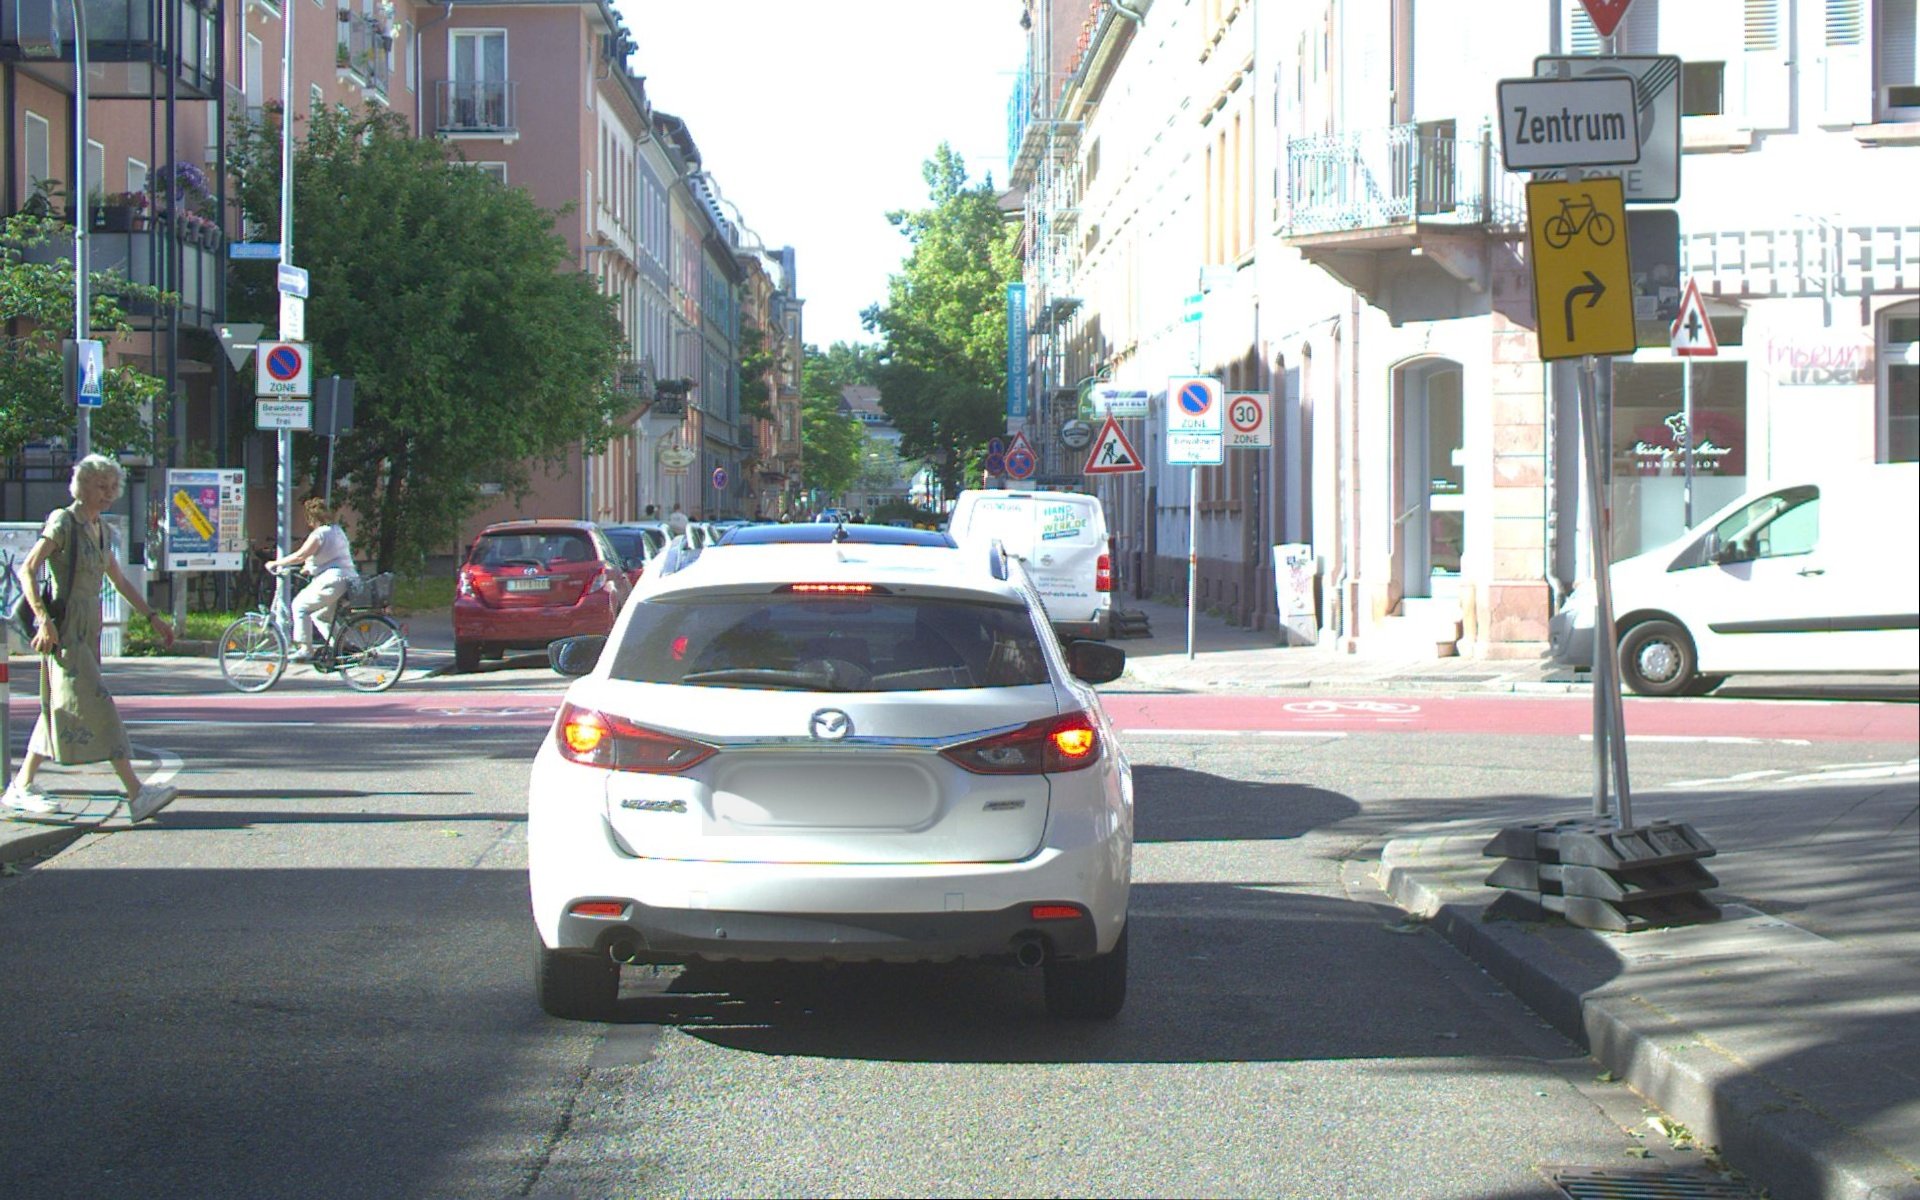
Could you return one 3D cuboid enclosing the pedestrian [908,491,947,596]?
[{"bbox_3d":[-0.657,-1.144,69.443,0.771,2.111,0.835,0,1,0],"label":"pedestrian"}]

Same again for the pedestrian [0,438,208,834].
[{"bbox_3d":[-4.136,0.153,16.474,0.853,1.808,0.815,3,3,-2],"label":"pedestrian"}]

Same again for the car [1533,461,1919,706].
[{"bbox_3d":[7.369,-0.124,28.219,4.896,1.922,1.997,1,-1,24],"label":"car"}]

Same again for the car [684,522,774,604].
[{"bbox_3d":[-4.572,-0.731,68.421,1.572,1.580,3.611,0,1,0],"label":"car"}]

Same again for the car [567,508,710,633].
[{"bbox_3d":[-4.384,-0.409,47.315,1.635,1.650,3.785,0,1,0],"label":"car"}]

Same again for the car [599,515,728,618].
[{"bbox_3d":[-4.633,-0.532,54.098,1.720,1.571,3.726,0,1,0],"label":"car"}]

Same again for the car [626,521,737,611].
[{"bbox_3d":[-4.673,-0.582,58.111,1.602,1.472,3.567,0,1,0],"label":"car"}]

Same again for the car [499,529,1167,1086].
[{"bbox_3d":[-0.406,0.534,11.366,1.823,1.509,3.824,1,1,-2],"label":"car"}]

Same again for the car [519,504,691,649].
[{"bbox_3d":[-4.275,-0.307,41.802,1.720,1.677,3.726,0,1,0],"label":"car"}]

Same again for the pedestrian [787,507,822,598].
[{"bbox_3d":[-3.050,-0.932,67.519,0.647,1.791,0.639,0,1,0],"label":"pedestrian"}]

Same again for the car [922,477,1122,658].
[{"bbox_3d":[0.654,-0.397,39.469,1.942,1.941,4.079,1,1,-3],"label":"car"}]

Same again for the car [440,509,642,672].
[{"bbox_3d":[-4.357,-0.145,36.203,1.769,1.583,3.727,0,2,-2],"label":"car"}]

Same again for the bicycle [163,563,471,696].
[{"bbox_3d":[-5.355,0.235,28.621,2.427,1.076,0.790,0,1,17],"label":"bicycle"}]

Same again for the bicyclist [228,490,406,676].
[{"bbox_3d":[-5.343,-0.144,28.584,1.196,1.511,0.840,0,1,17],"label":"bicyclist"}]

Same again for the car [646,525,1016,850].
[{"bbox_3d":[-0.641,0.359,17.508,1.682,1.476,3.661,0,1,-2],"label":"car"}]

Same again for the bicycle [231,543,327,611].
[{"bbox_3d":[-9.408,-0.321,47.437,0.603,0.929,1.915,-1,1,-34],"label":"bicycle"}]
